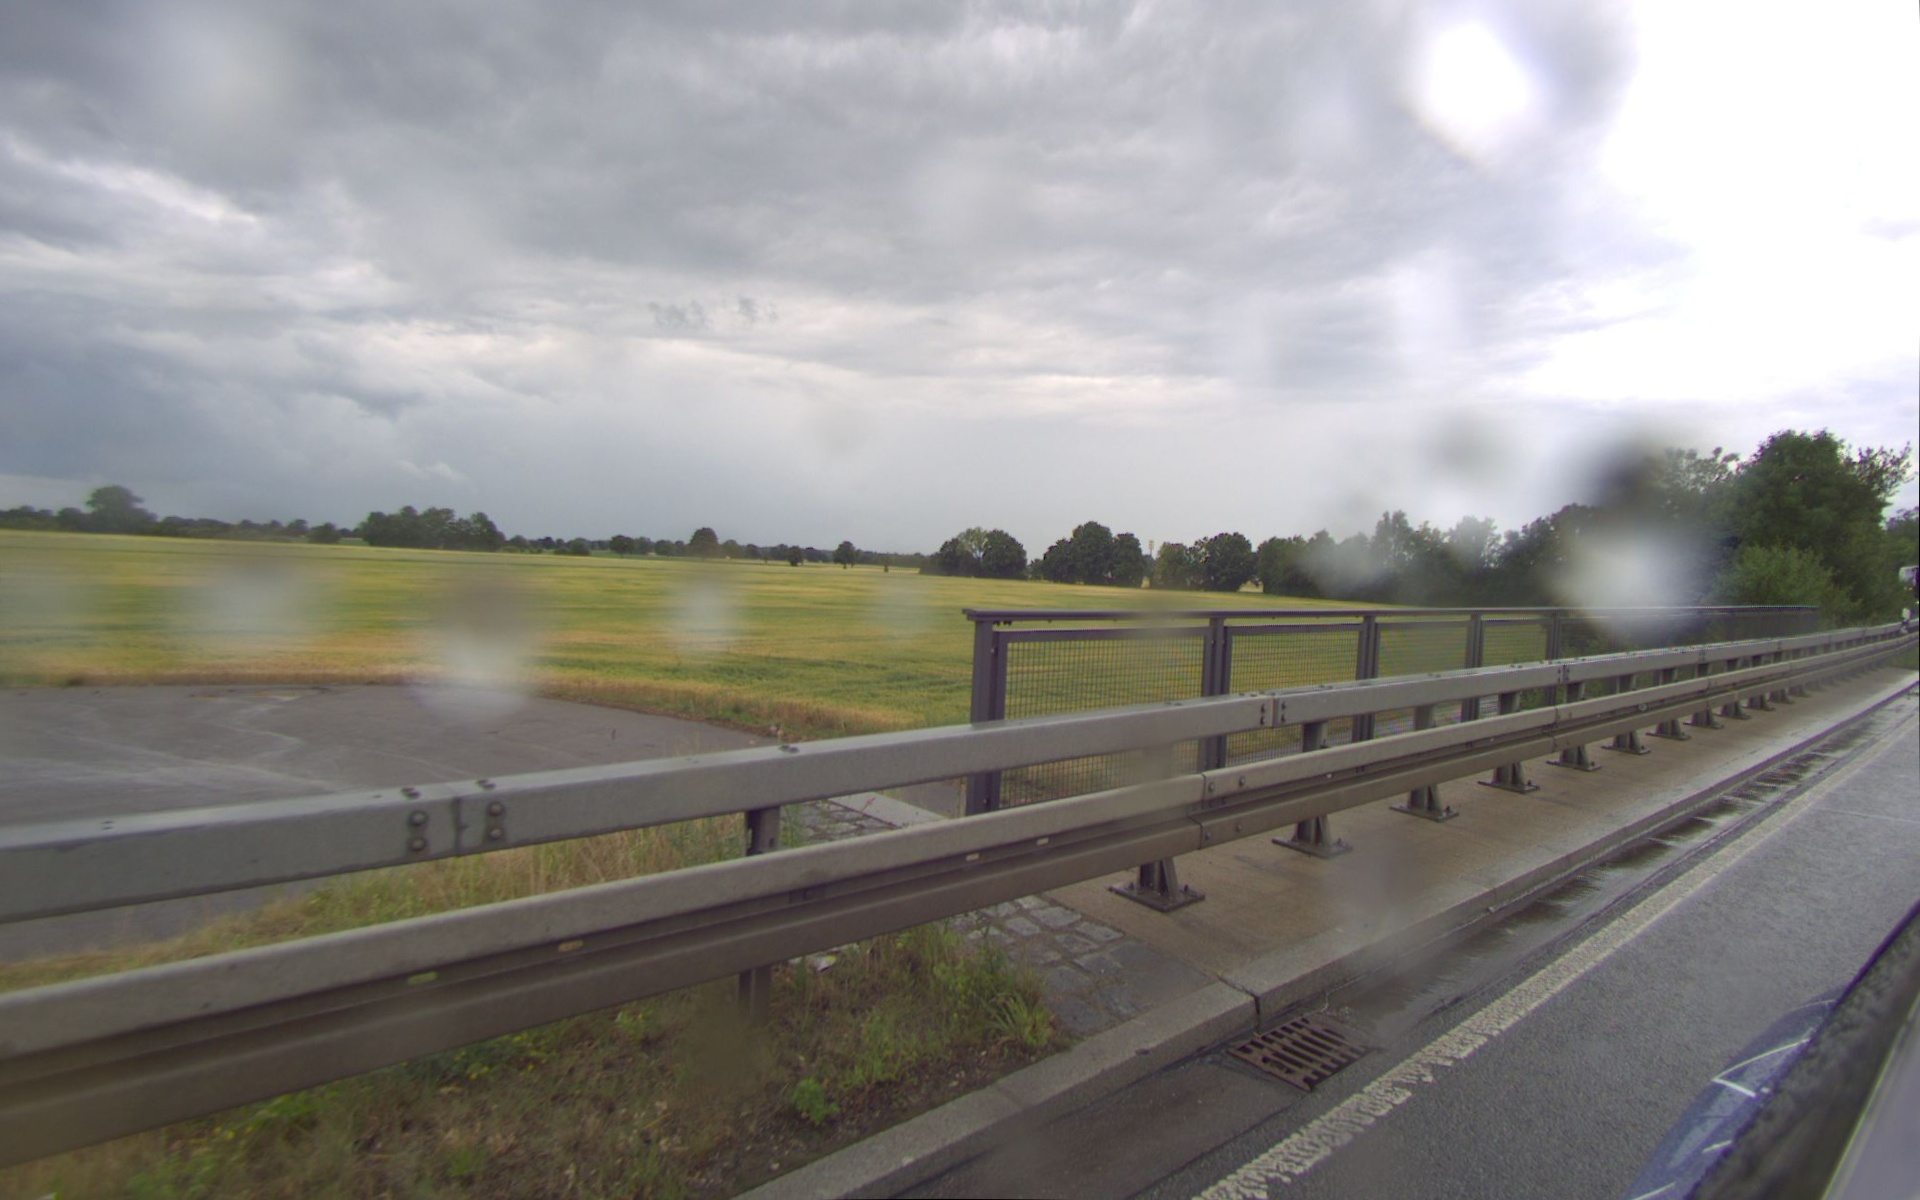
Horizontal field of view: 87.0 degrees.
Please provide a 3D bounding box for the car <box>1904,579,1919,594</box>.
[{"bbox_3d":[107.913,-1.566,114.634,1.389,1.630,3.257,1,1,41],"label":"car"}]
